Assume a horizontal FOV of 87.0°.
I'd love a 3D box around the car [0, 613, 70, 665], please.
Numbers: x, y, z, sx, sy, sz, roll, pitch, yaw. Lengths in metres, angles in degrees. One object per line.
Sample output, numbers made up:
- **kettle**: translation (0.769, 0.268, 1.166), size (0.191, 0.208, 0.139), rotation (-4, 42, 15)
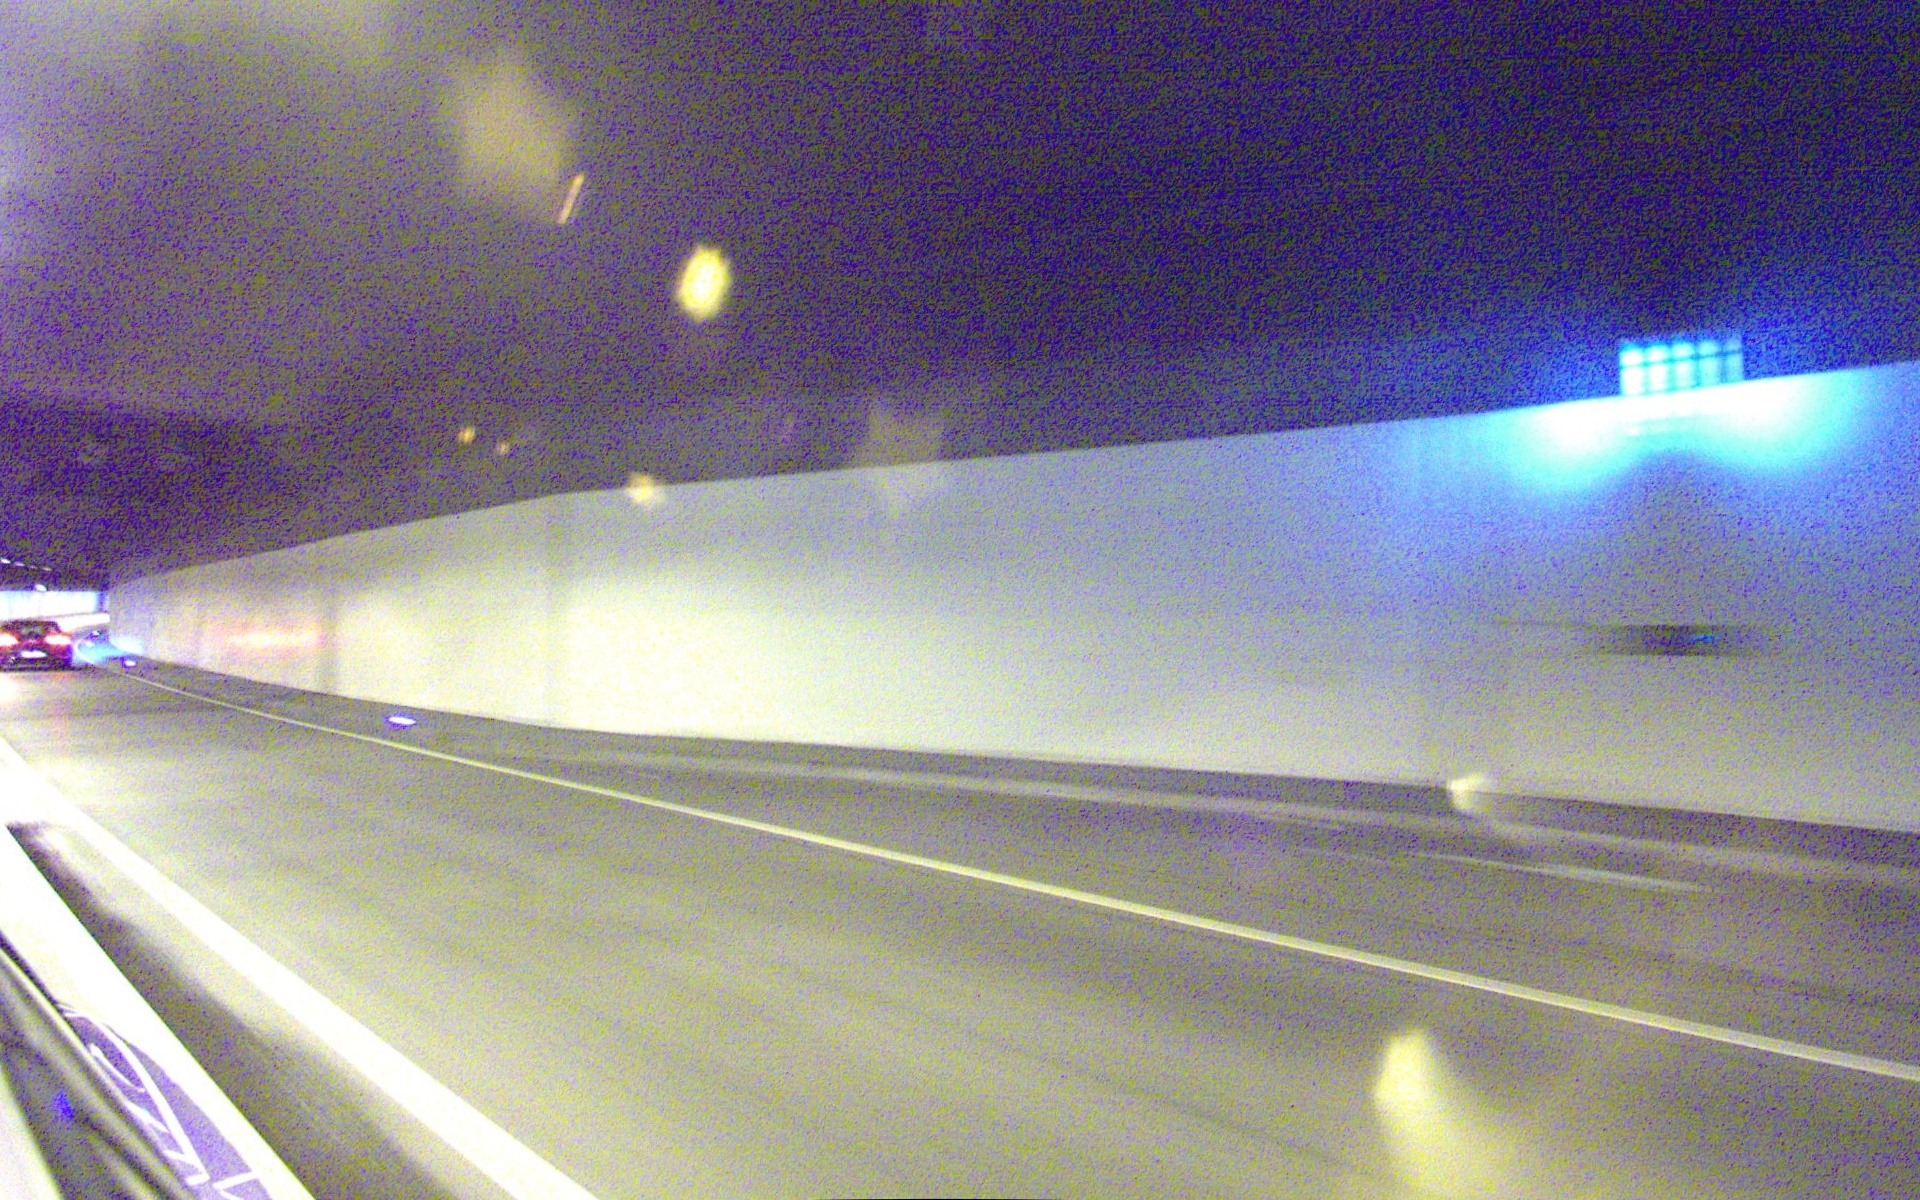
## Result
- **car**: translation (-27.265, 1.129, 29.531), size (1.688, 1.427, 4.119), rotation (2, -2, -45)
